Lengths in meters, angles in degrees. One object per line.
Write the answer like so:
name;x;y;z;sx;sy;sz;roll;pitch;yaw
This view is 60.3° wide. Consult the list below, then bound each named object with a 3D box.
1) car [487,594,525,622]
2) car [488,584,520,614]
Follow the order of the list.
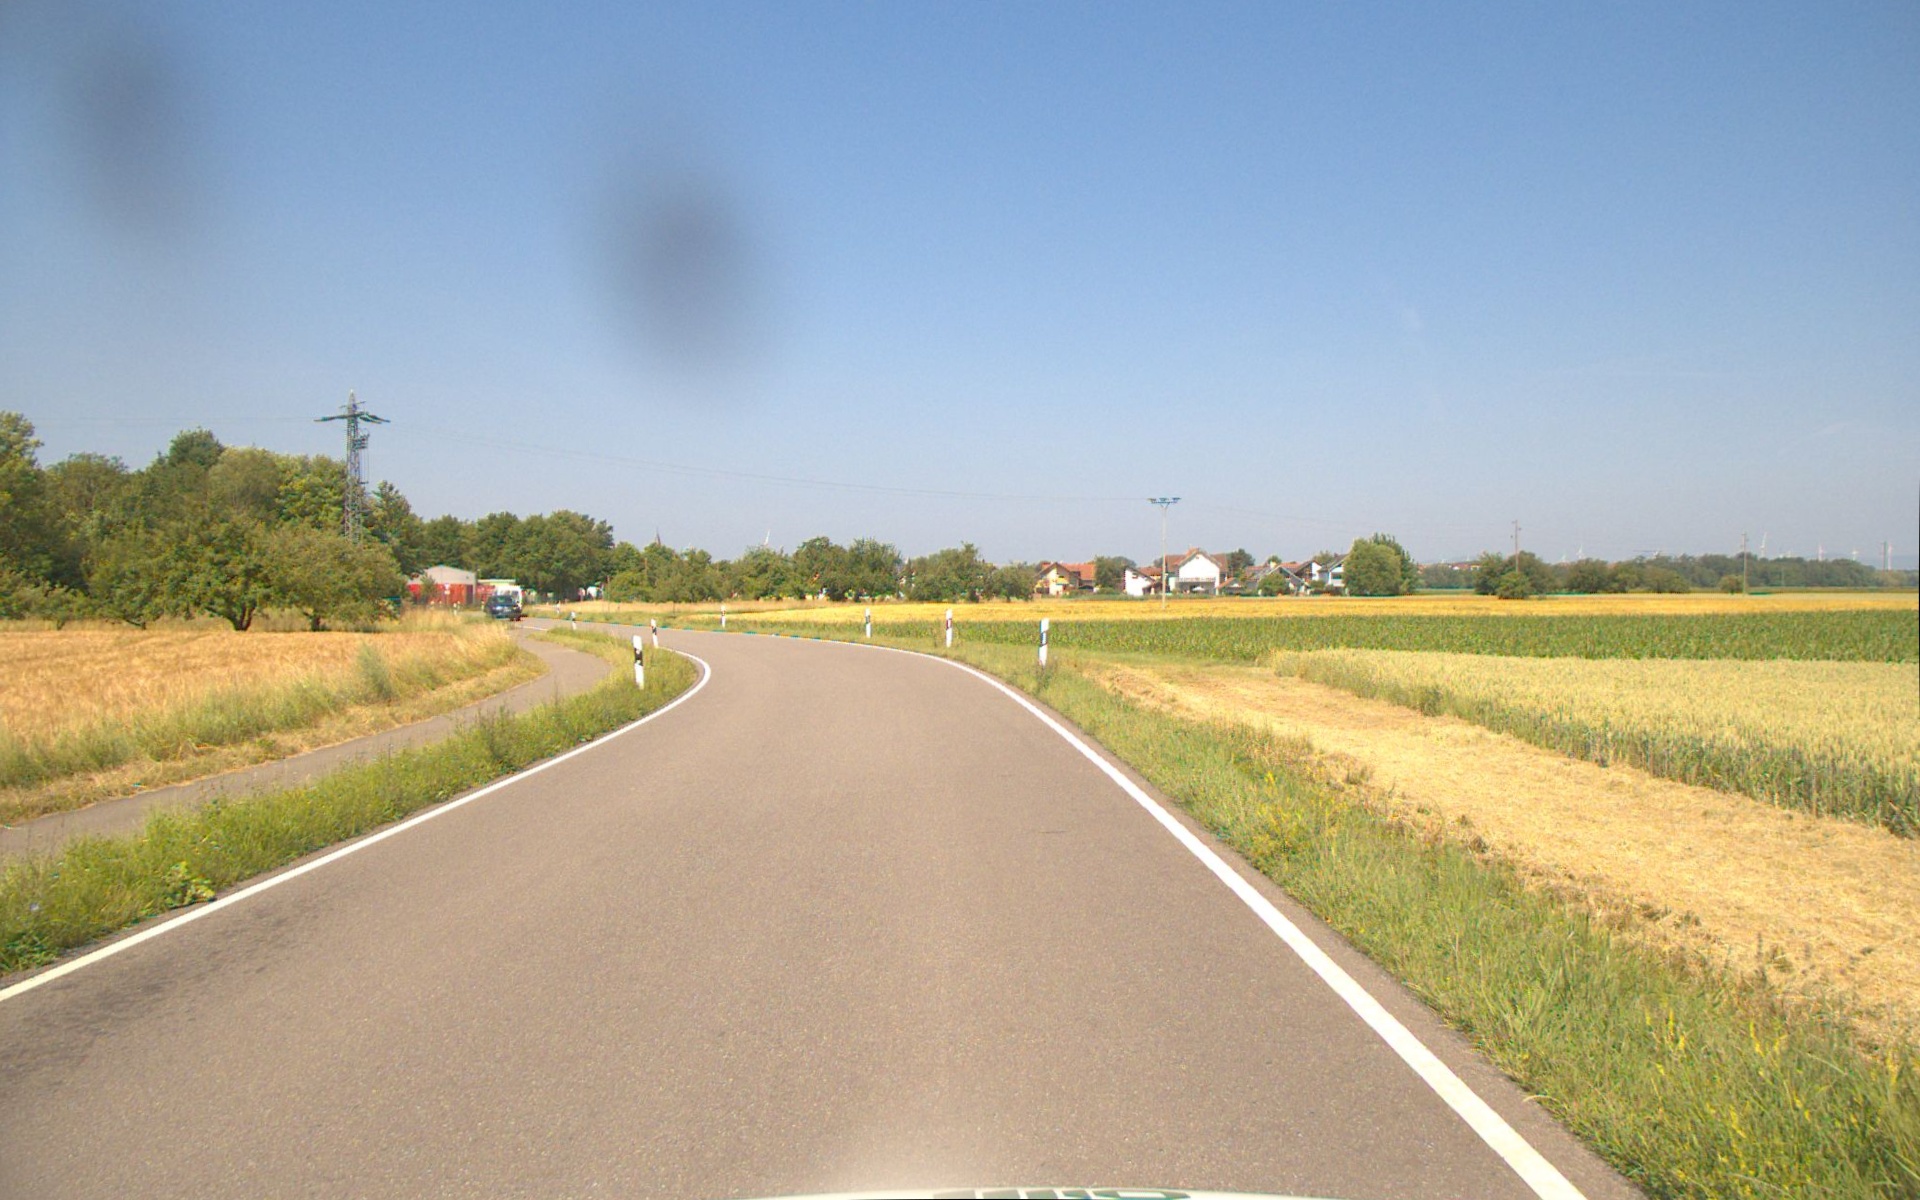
car;-30.135;0.515;109.754;1.862;1.744;3.985;-2;1;-23
car;-36.890;-0.084;133.727;1.966;2.306;4.694;-1;0;-22
